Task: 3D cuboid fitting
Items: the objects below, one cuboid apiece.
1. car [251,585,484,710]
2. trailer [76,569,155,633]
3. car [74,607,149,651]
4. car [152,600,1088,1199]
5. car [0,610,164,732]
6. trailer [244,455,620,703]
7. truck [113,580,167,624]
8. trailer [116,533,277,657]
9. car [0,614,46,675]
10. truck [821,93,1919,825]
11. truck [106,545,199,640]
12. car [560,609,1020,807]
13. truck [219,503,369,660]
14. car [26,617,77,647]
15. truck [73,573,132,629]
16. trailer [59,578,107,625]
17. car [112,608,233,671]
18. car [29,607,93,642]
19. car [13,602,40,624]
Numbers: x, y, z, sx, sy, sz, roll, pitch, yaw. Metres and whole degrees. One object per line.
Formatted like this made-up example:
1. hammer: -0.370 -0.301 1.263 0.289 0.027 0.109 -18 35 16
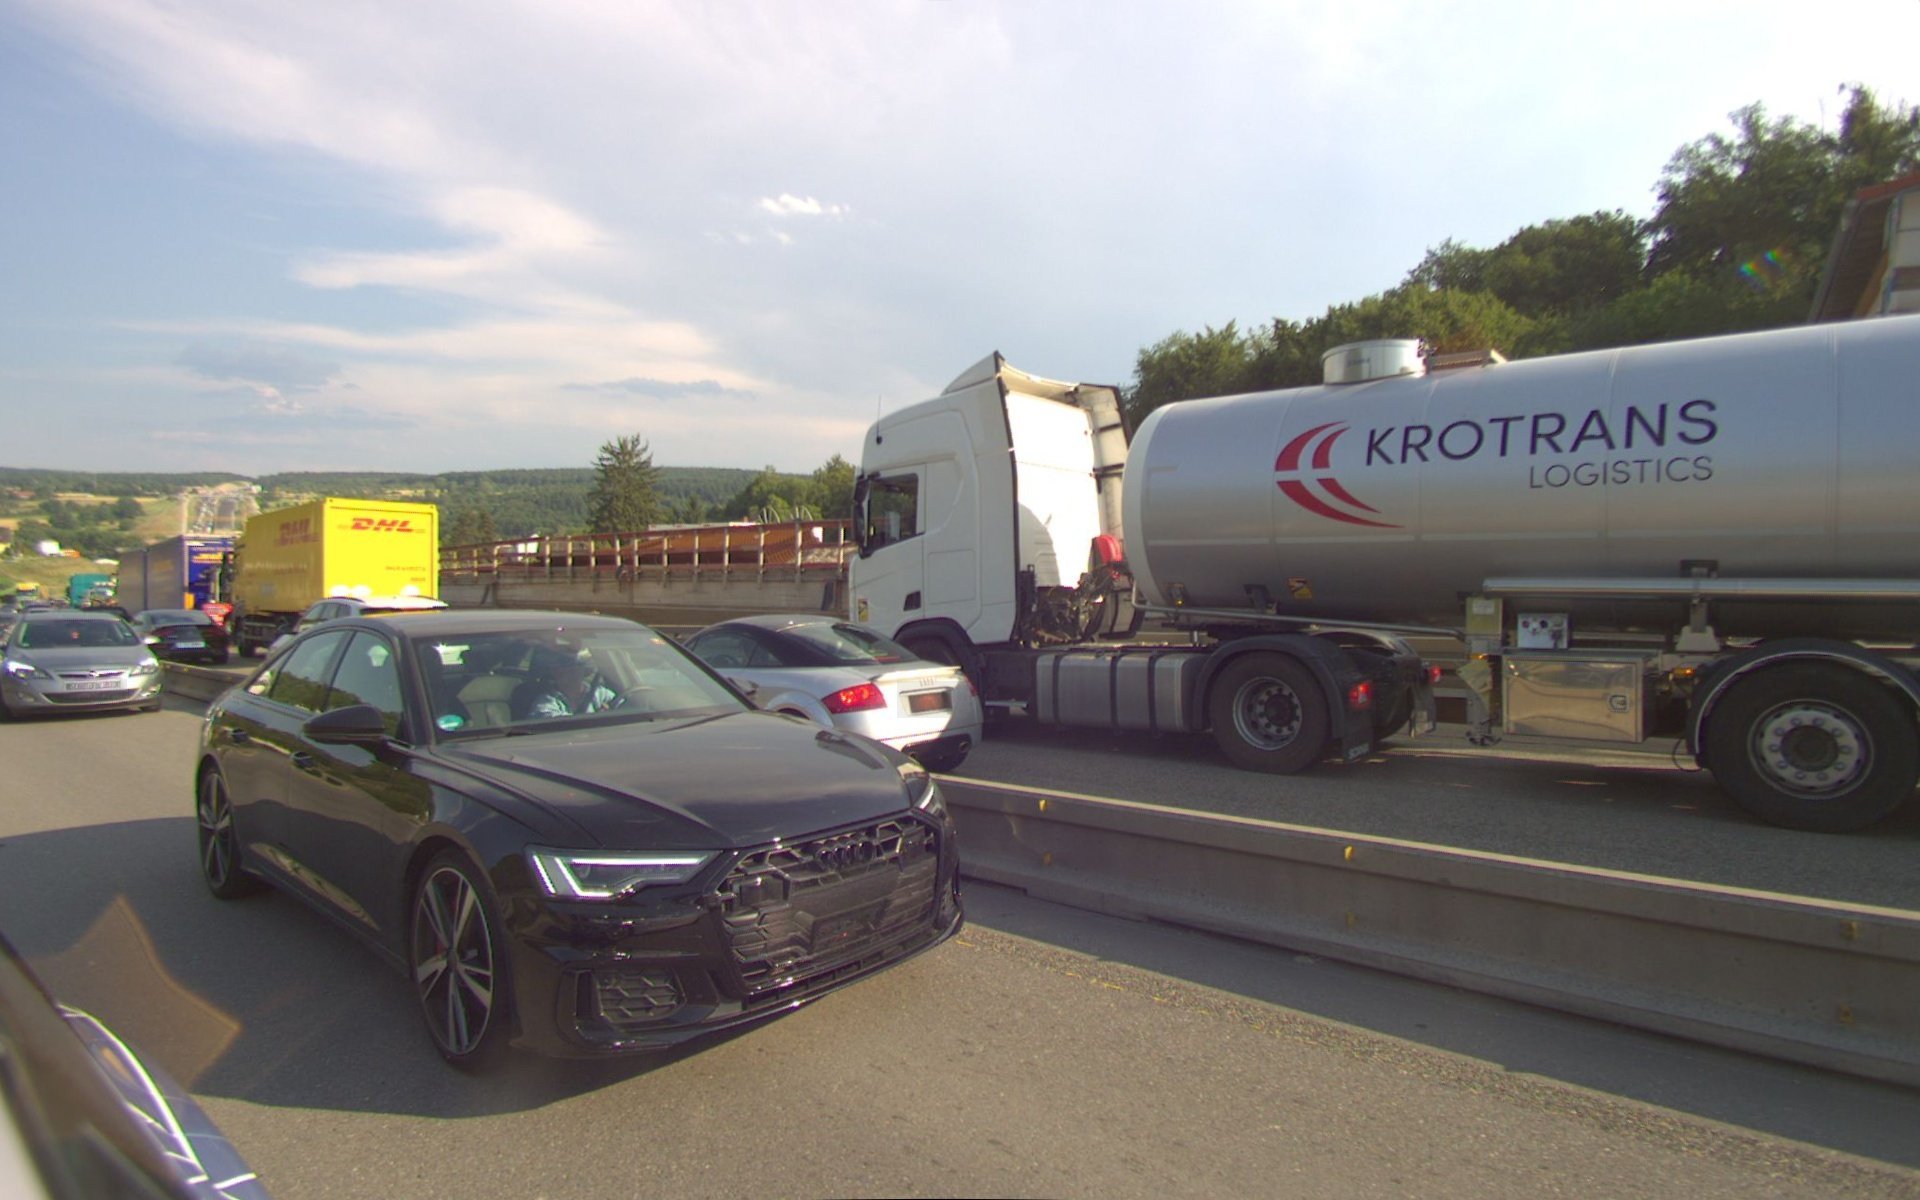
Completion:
1. car: -9.273 0.633 15.681 4.559 1.660 1.826 0 -1 42
2. trailer: -56.310 0.093 67.261 2.717 3.844 16.058 2 -1 -44
3. car: -32.293 1.072 38.474 4.292 1.519 1.697 1 0 44
4. car: -2.097 0.775 4.833 5.221 1.491 1.920 0 -1 42
5. car: -13.043 0.908 14.709 4.119 1.498 1.785 0 0 44
6. trailer: -13.248 -0.431 23.792 15.998 4.235 2.671 1 0 43
7. truck: -81.921 0.207 100.997 3.121 4.154 12.503 2 -1 -44
8. trailer: -31.317 -0.239 40.998 16.758 4.166 2.684 1 0 44
9. car: -24.779 1.110 25.756 3.998 1.452 1.800 -1 1 41
10. truck: 4.583 -0.774 7.962 13.886 4.000 2.780 0 0 41
11. truck: -37.824 -0.334 47.345 5.796 4.172 2.671 1 0 44
12. car: -1.610 0.740 8.656 4.049 1.262 1.693 0 -1 41
13. truck: -19.572 -0.513 29.691 4.398 4.228 2.664 1 0 43
14. car: -50.240 1.732 55.940 4.726 1.509 1.768 1 0 44
15. truck: -61.957 0.081 73.076 2.717 3.834 7.116 2 -1 -44
16. trailer: -82.063 0.163 94.602 2.683 4.154 12.503 2 -1 -44
17. car: -20.458 0.960 26.210 4.903 1.412 1.721 1 0 43
18. car: -41.326 1.099 46.481 4.616 1.464 1.777 1 0 43
19. car: -92.643 1.258 100.441 1.802 1.948 5.134 4 -2 -44
